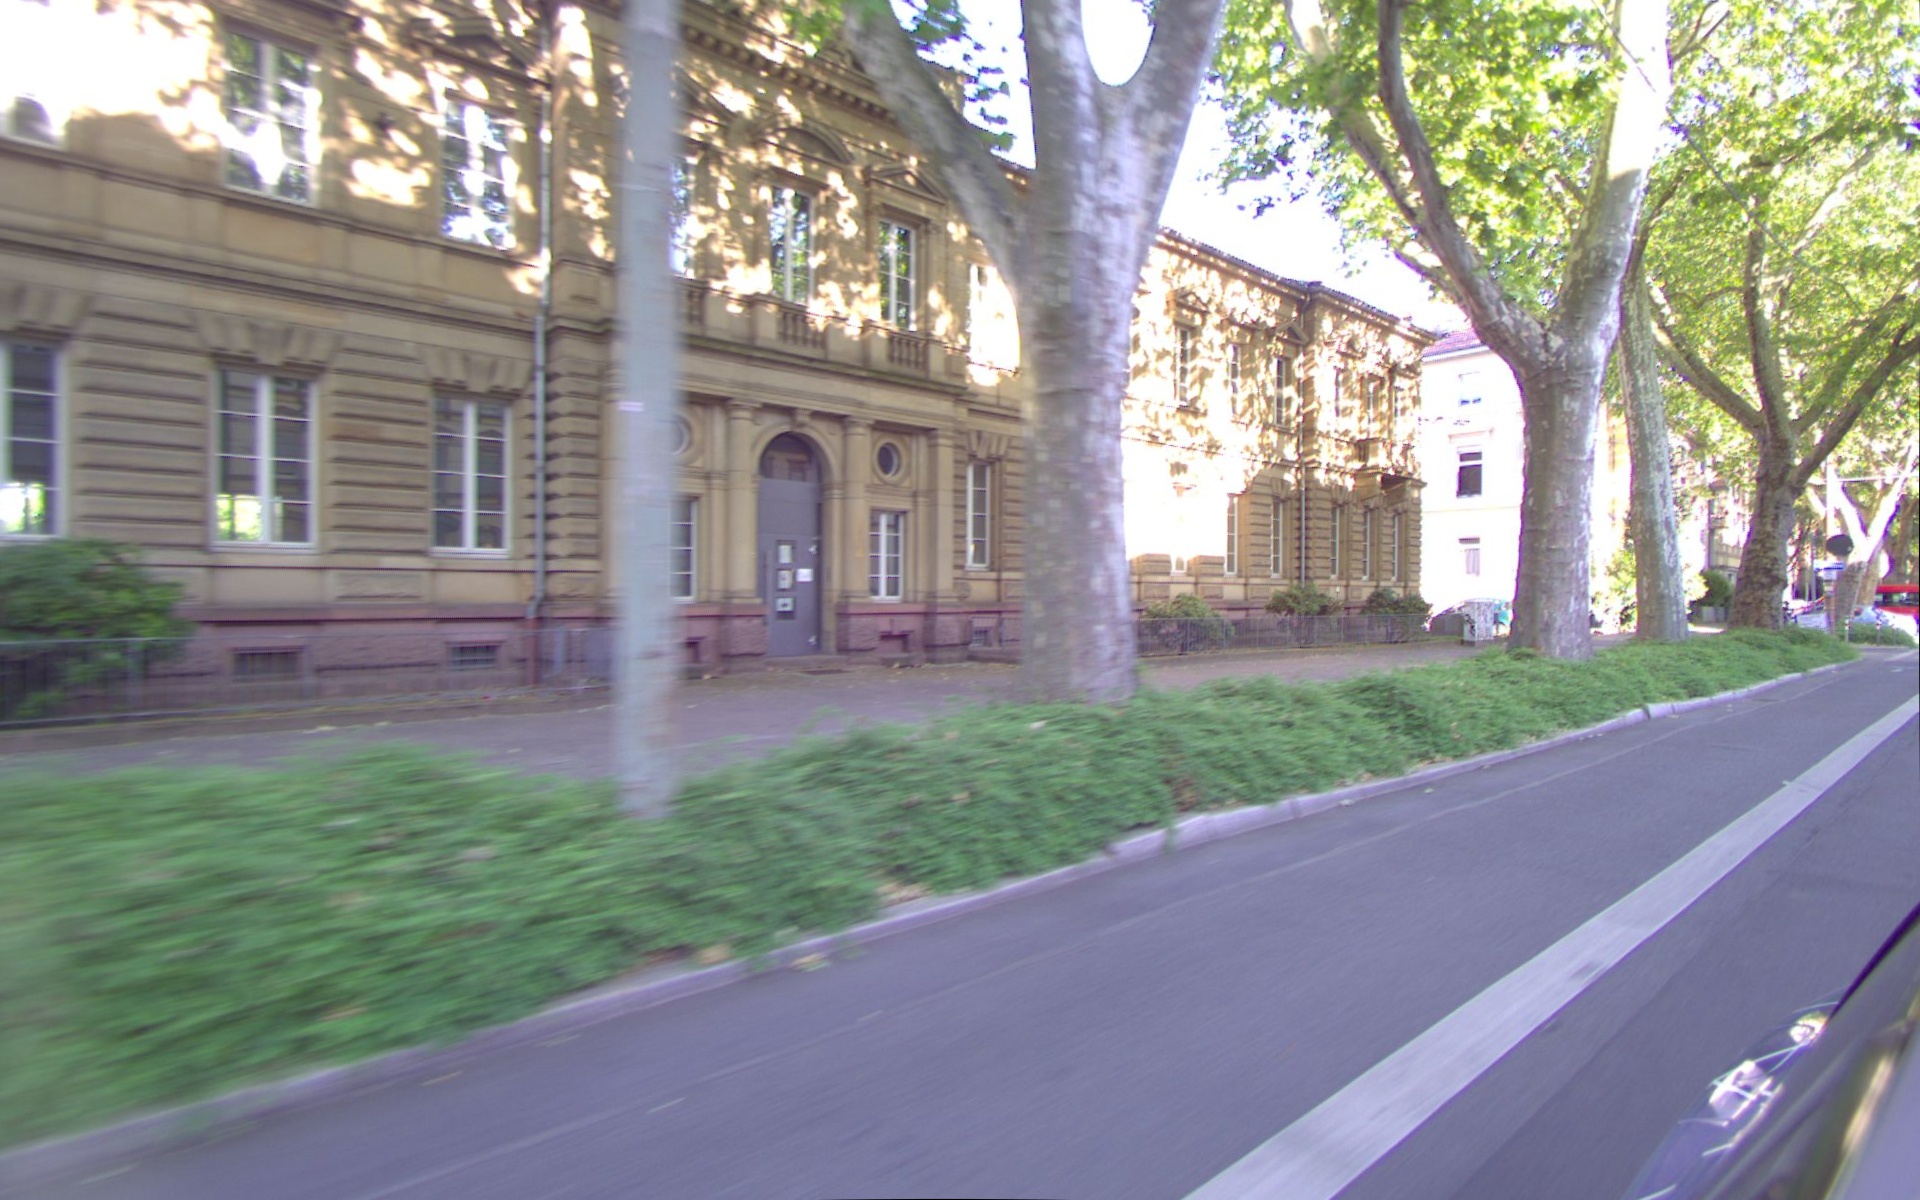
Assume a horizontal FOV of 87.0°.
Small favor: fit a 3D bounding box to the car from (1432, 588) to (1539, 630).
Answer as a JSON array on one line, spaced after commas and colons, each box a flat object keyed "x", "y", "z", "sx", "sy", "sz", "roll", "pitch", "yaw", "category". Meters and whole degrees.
[{"x": 21.727, "y": 0.330, "z": 41.929, "sx": 1.708, "sy": 1.561, "sz": 3.567, "roll": -4, "pitch": 3, "yaw": -42, "category": "car"}]

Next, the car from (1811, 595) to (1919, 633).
[{"x": 38.493, "y": 0.565, "z": 42.796, "sx": 1.588, "sy": 1.435, "sz": 3.672, "roll": -4, "pitch": 3, "yaw": -42, "category": "car"}]

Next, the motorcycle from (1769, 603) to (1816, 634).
[{"x": 29.669, "y": 0.659, "z": 36.068, "sx": 1.251, "sy": 1.067, "sz": 0.394, "roll": 0, "pitch": 0, "yaw": 11, "category": "motorcycle"}]

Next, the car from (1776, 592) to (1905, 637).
[{"x": 34.488, "y": 0.526, "z": 39.690, "sx": 1.588, "sy": 1.561, "sz": 3.672, "roll": -3, "pitch": 3, "yaw": -42, "category": "car"}]

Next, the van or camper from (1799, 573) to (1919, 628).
[{"x": 44.739, "y": -0.008, "z": 49.191, "sx": 2.186, "sy": 2.528, "sz": 5.916, "roll": -4, "pitch": 3, "yaw": -44, "category": "van or camper"}]

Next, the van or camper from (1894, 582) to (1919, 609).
[{"x": 87.448, "y": -0.371, "z": 90.152, "sx": 2.386, "sy": 2.461, "sz": 6.092, "roll": 0, "pitch": 1, "yaw": -42, "category": "van or camper"}]
